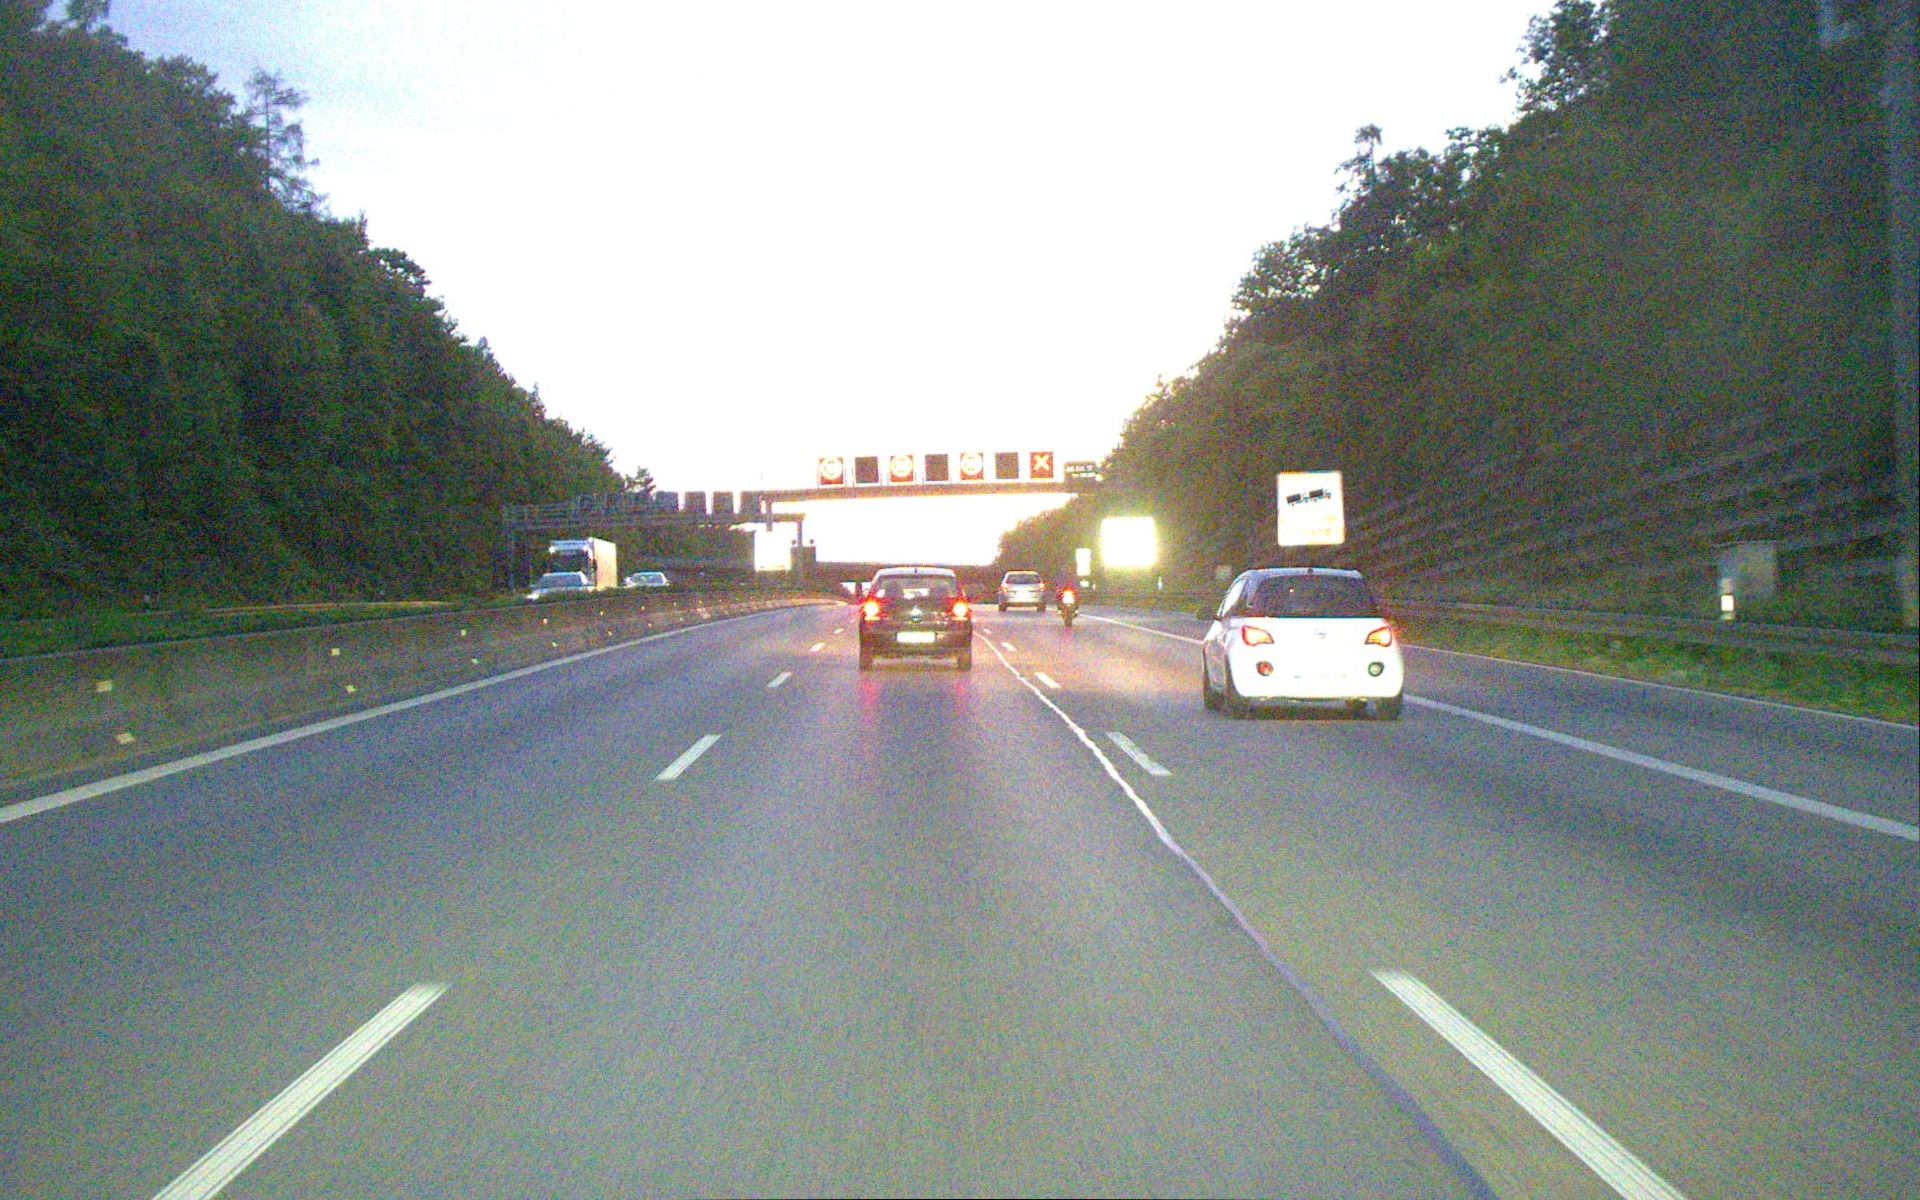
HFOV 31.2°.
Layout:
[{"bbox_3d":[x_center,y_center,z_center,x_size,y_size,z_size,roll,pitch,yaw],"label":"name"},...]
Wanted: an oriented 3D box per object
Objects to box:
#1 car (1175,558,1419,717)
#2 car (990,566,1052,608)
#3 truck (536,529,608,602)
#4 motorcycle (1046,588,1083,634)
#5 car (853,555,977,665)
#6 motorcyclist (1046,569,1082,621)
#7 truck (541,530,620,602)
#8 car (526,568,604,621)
[{"bbox_3d":[3.317,0.372,34.603,1.825,1.471,4.399,1,-1,-2],"label":"car"},{"bbox_3d":[2.268,-0.492,129.818,1.865,1.489,4.399,1,-1,-5],"label":"car"},{"bbox_3d":[-21.825,-1.958,193.729,3.380,3.990,6.880,-1,0,-2],"label":"truck"},{"bbox_3d":[2.621,0.286,86.432,0.829,1.130,2.476,-1,0,-1],"label":"motorcycle"},{"bbox_3d":[-0.651,0.166,50.041,1.704,1.504,4.232,1,-1,-1],"label":"car"},{"bbox_3d":[2.615,-0.129,86.365,0.829,1.287,1.190,-1,0,-1],"label":"motorcyclist"},{"bbox_3d":[-22.036,-1.982,200.554,3.356,3.990,14.498,-1,0,-2],"label":"truck"},{"bbox_3d":[-12.582,-0.197,109.849,1.917,1.607,5.159,-1,1,-1],"label":"car"}]
